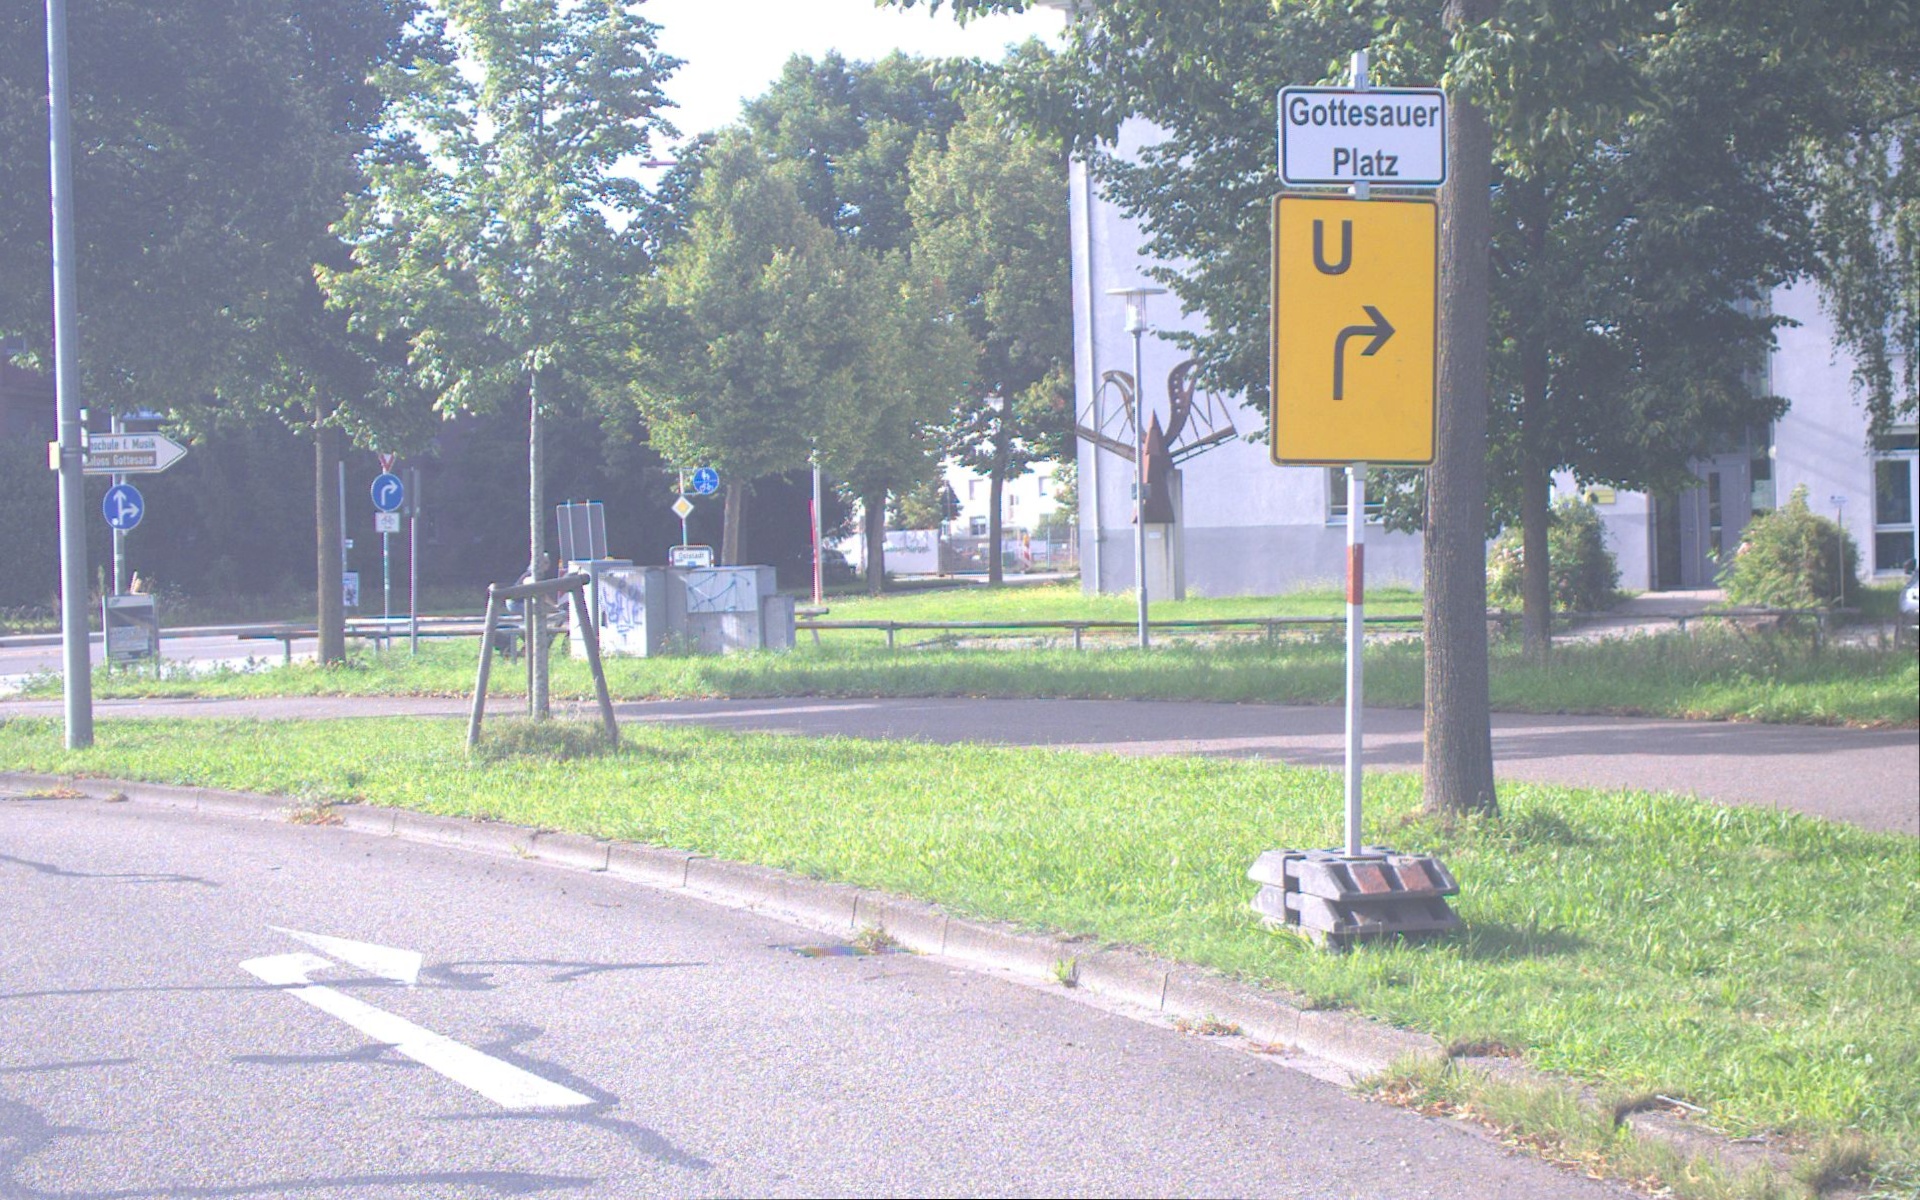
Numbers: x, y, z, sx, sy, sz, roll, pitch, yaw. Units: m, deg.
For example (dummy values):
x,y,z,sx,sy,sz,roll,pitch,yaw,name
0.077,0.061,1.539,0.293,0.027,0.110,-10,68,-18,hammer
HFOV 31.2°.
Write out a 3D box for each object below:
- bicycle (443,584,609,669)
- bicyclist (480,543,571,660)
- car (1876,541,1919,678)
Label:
x,y,z,sx,sy,sz,roll,pitch,yaw,name
-5.934,0.360,47.019,2.145,1.133,0.771,0,1,23,bicycle
-5.945,0.017,47.015,0.958,1.569,0.771,0,1,23,bicyclist
10.945,0.042,36.755,1.857,1.376,4.511,-1,1,19,car
